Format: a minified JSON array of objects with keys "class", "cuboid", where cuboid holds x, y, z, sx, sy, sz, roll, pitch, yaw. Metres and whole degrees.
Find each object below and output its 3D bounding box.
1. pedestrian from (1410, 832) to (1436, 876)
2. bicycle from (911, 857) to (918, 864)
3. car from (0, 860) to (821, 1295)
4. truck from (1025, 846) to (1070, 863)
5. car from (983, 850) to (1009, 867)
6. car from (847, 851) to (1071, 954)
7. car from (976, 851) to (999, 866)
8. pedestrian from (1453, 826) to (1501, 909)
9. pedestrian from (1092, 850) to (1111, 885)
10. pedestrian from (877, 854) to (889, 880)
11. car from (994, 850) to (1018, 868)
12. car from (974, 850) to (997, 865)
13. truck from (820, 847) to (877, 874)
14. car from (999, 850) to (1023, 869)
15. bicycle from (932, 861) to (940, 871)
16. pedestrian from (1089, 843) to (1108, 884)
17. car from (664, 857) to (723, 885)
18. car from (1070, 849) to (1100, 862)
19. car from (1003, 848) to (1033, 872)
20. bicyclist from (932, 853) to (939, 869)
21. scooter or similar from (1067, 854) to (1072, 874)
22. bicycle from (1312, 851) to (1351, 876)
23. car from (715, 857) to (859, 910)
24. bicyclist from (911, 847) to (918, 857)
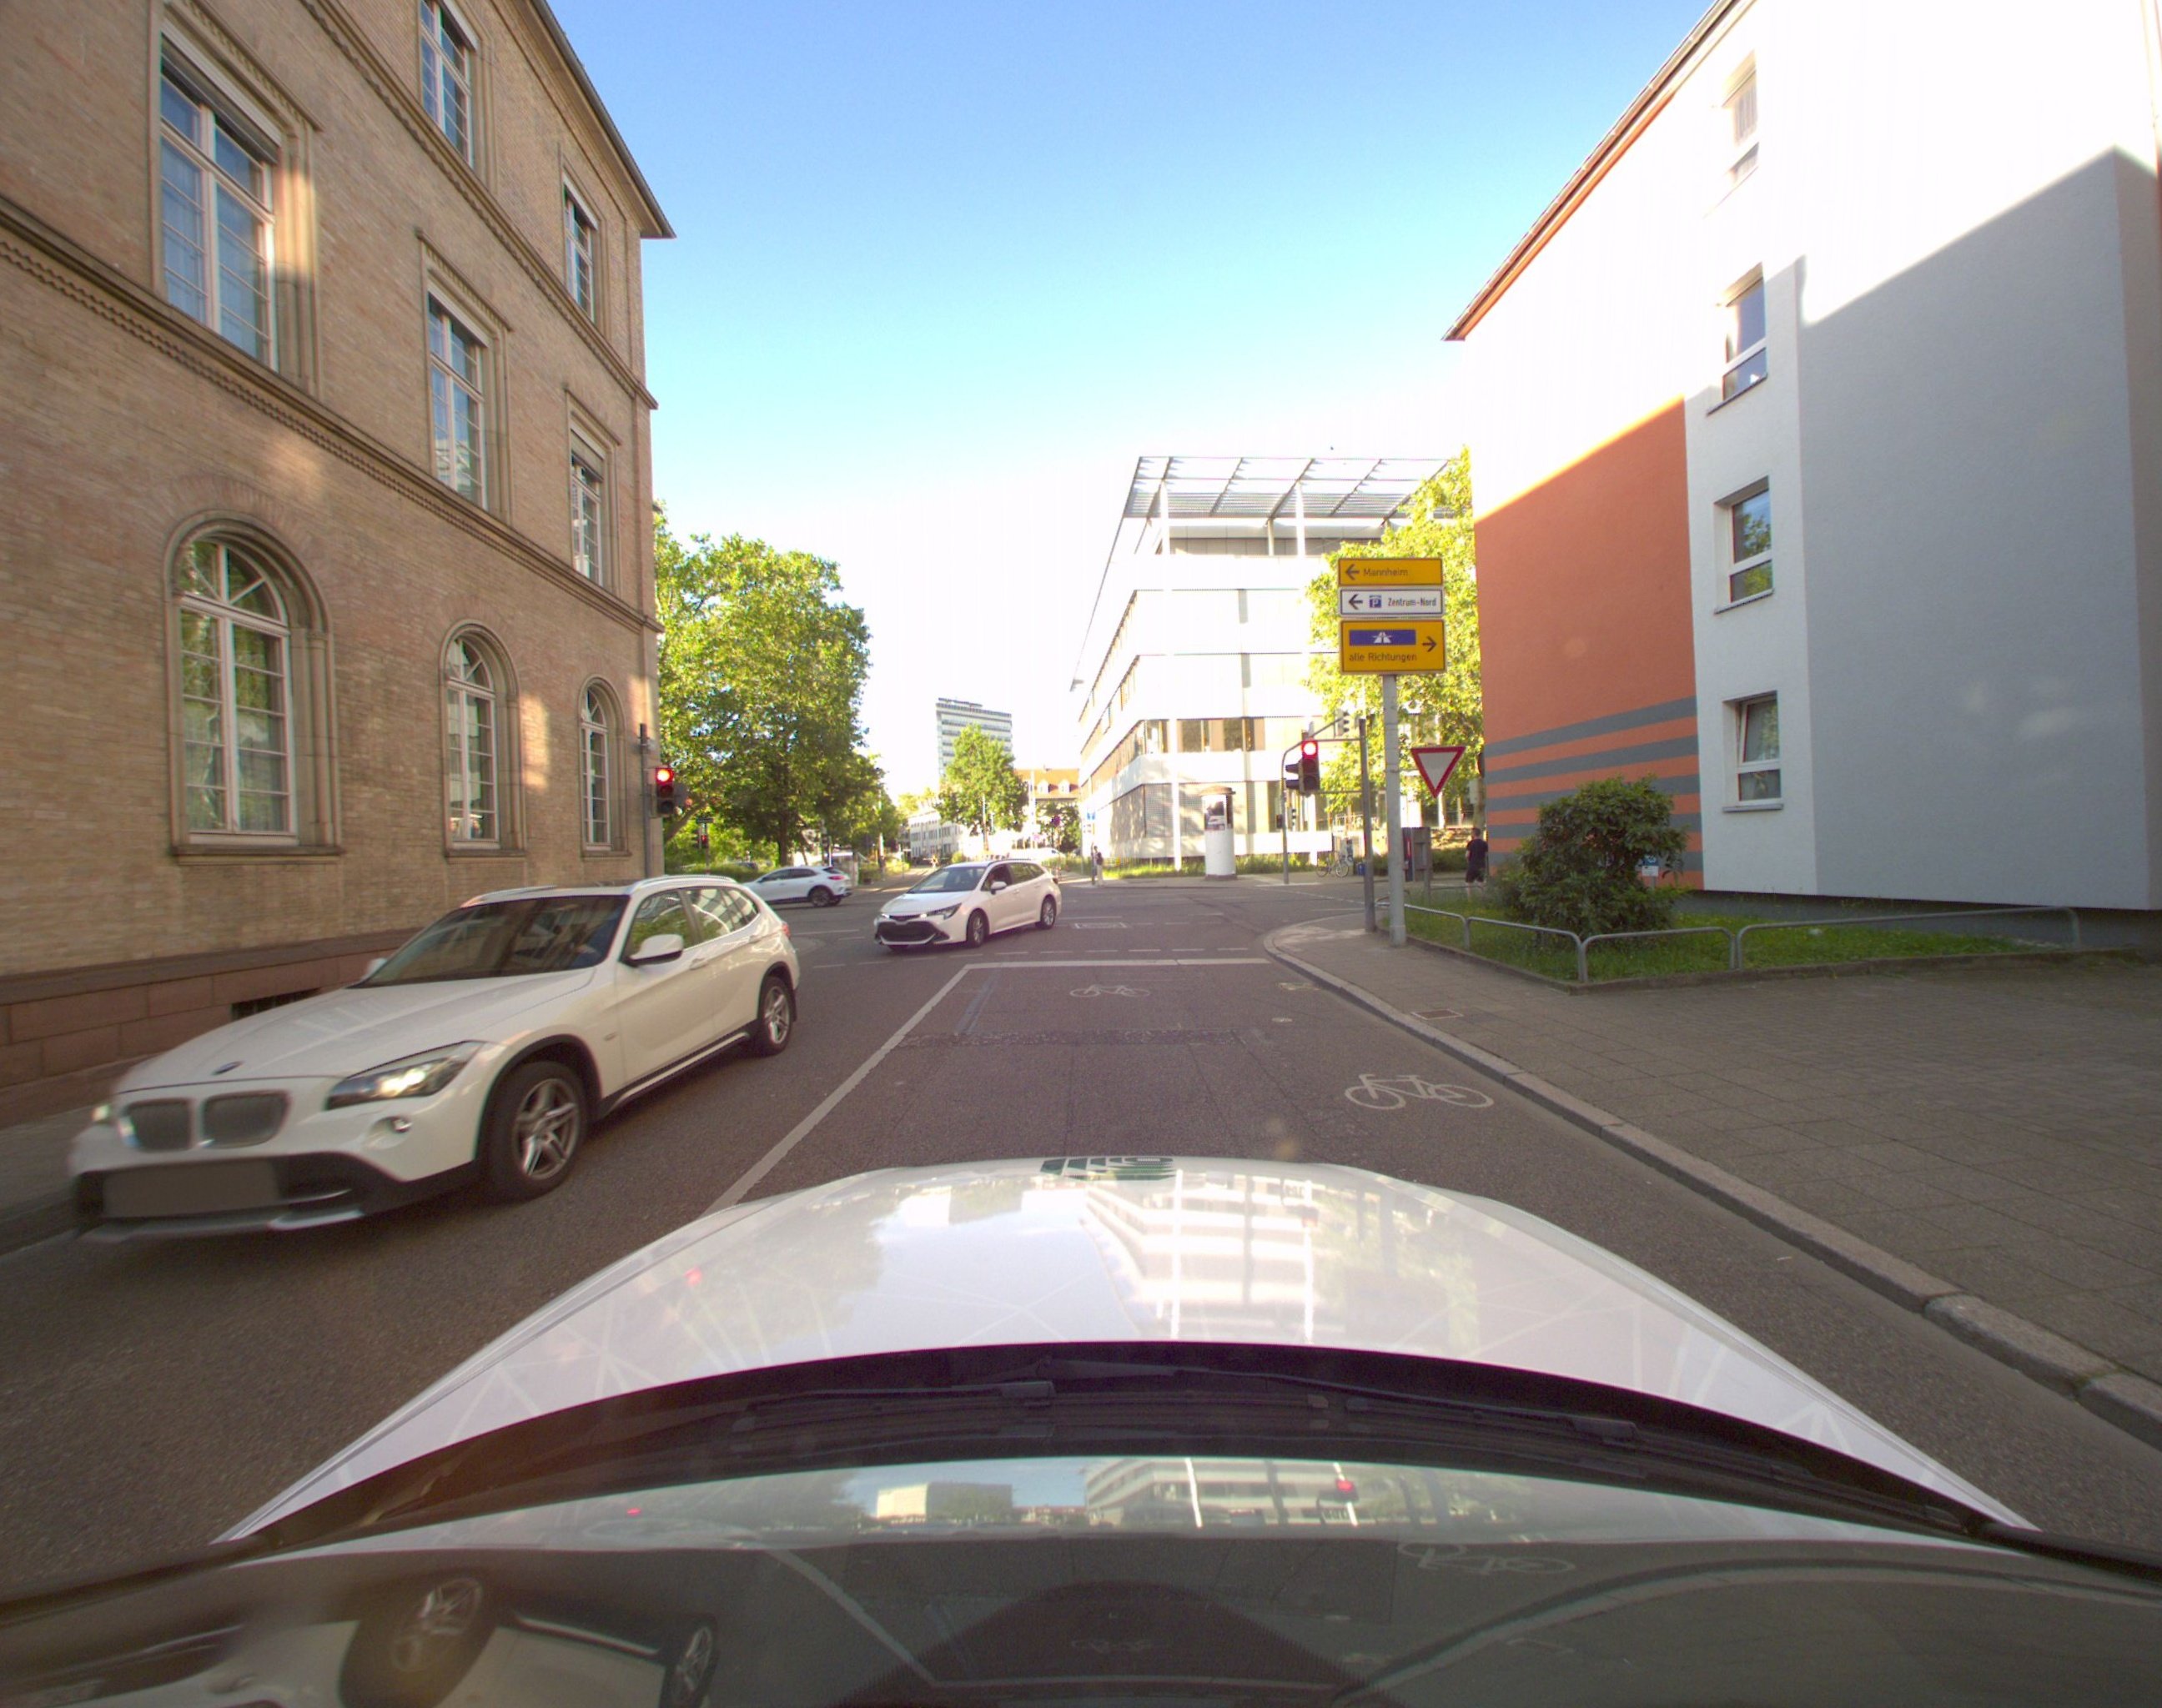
[{"class":"pedestrian","cuboid":[14.333,0.008,34.139,0.829,1.840,0.711,0,0,10]},{"class":"bicycle","cuboid":[-24.219,0.939,118.642,0.865,1.009,2.407,-5,0,-9]},{"class":"car","cuboid":[-3.396,0.919,5.411,1.679,1.582,4.277,-4,0,2]},{"class":"truck","cuboid":[-4.242,0.071,103.362,5.351,2.013,1.988,-2,0,-17]},{"class":"car","cuboid":[-9.023,0.435,85.967,1.893,1.655,4.390,-2,1,-16]},{"class":"car","cuboid":[-2.048,0.801,15.223,1.869,1.476,4.571,-4,0,24]},{"class":"car","cuboid":[-10.491,0.482,91.121,1.893,1.655,4.390,-2,1,-16]},{"class":"pedestrian","cuboid":[9.047,0.295,18.623,0.704,1.840,0.837,0,0,1]},{"class":"pedestrian","cuboid":[0.929,0.599,37.325,0.561,1.540,0.673,-5,1,-16]},{"class":"pedestrian","cuboid":[-13.474,0.902,55.451,0.704,1.723,0.950,-3,0,-14]},{"class":"car","cuboid":[-7.264,0.477,78.670,1.889,1.555,4.398,-2,1,-11]},{"class":"car","cuboid":[-11.272,0.429,95.965,1.893,1.655,4.390,-2,1,-16]},{"class":"truck","cuboid":[-21.606,0.591,75.830,4.825,2.399,2.082,-2,0,-8]},{"class":"car","cuboid":[-6.330,0.502,73.272,1.887,1.555,4.403,-2,1,-8]},{"class":"bicycle","cuboid":[-14.287,1.182,80.162,0.615,0.969,1.837,-3,0,-7]},{"class":"pedestrian","cuboid":[0.837,0.440,37.934,0.555,1.850,0.680,-5,1,18]},{"class":"car","cuboid":[-37.164,1.629,78.119,4.551,2.391,2.069,-3,0,-7]},{"class":"car","cuboid":[0.510,0.172,104.433,3.563,1.546,1.549,-2,0,-17]},{"class":"car","cuboid":[-5.090,0.447,64.970,2.084,1.795,4.403,-2,1,-8]},{"class":"bicyclist","cuboid":[-14.309,0.645,80.176,0.615,1.532,0.901,-3,0,-7]},{"class":"scooter or similar","cuboid":[-0.823,0.753,58.749,0.329,1.424,1.333,0,-1,-4]},{"class":"bicycle","cuboid":[11.034,0.410,35.915,0.510,1.049,1.670,-4,3,-33]},{"class":"car","cuboid":[-10.166,0.997,28.416,4.314,1.575,1.821,-2,0,-6]},{"class":"bicyclist","cuboid":[-24.309,-0.292,118.661,0.865,1.515,1.016,-5,0,-9]}]
